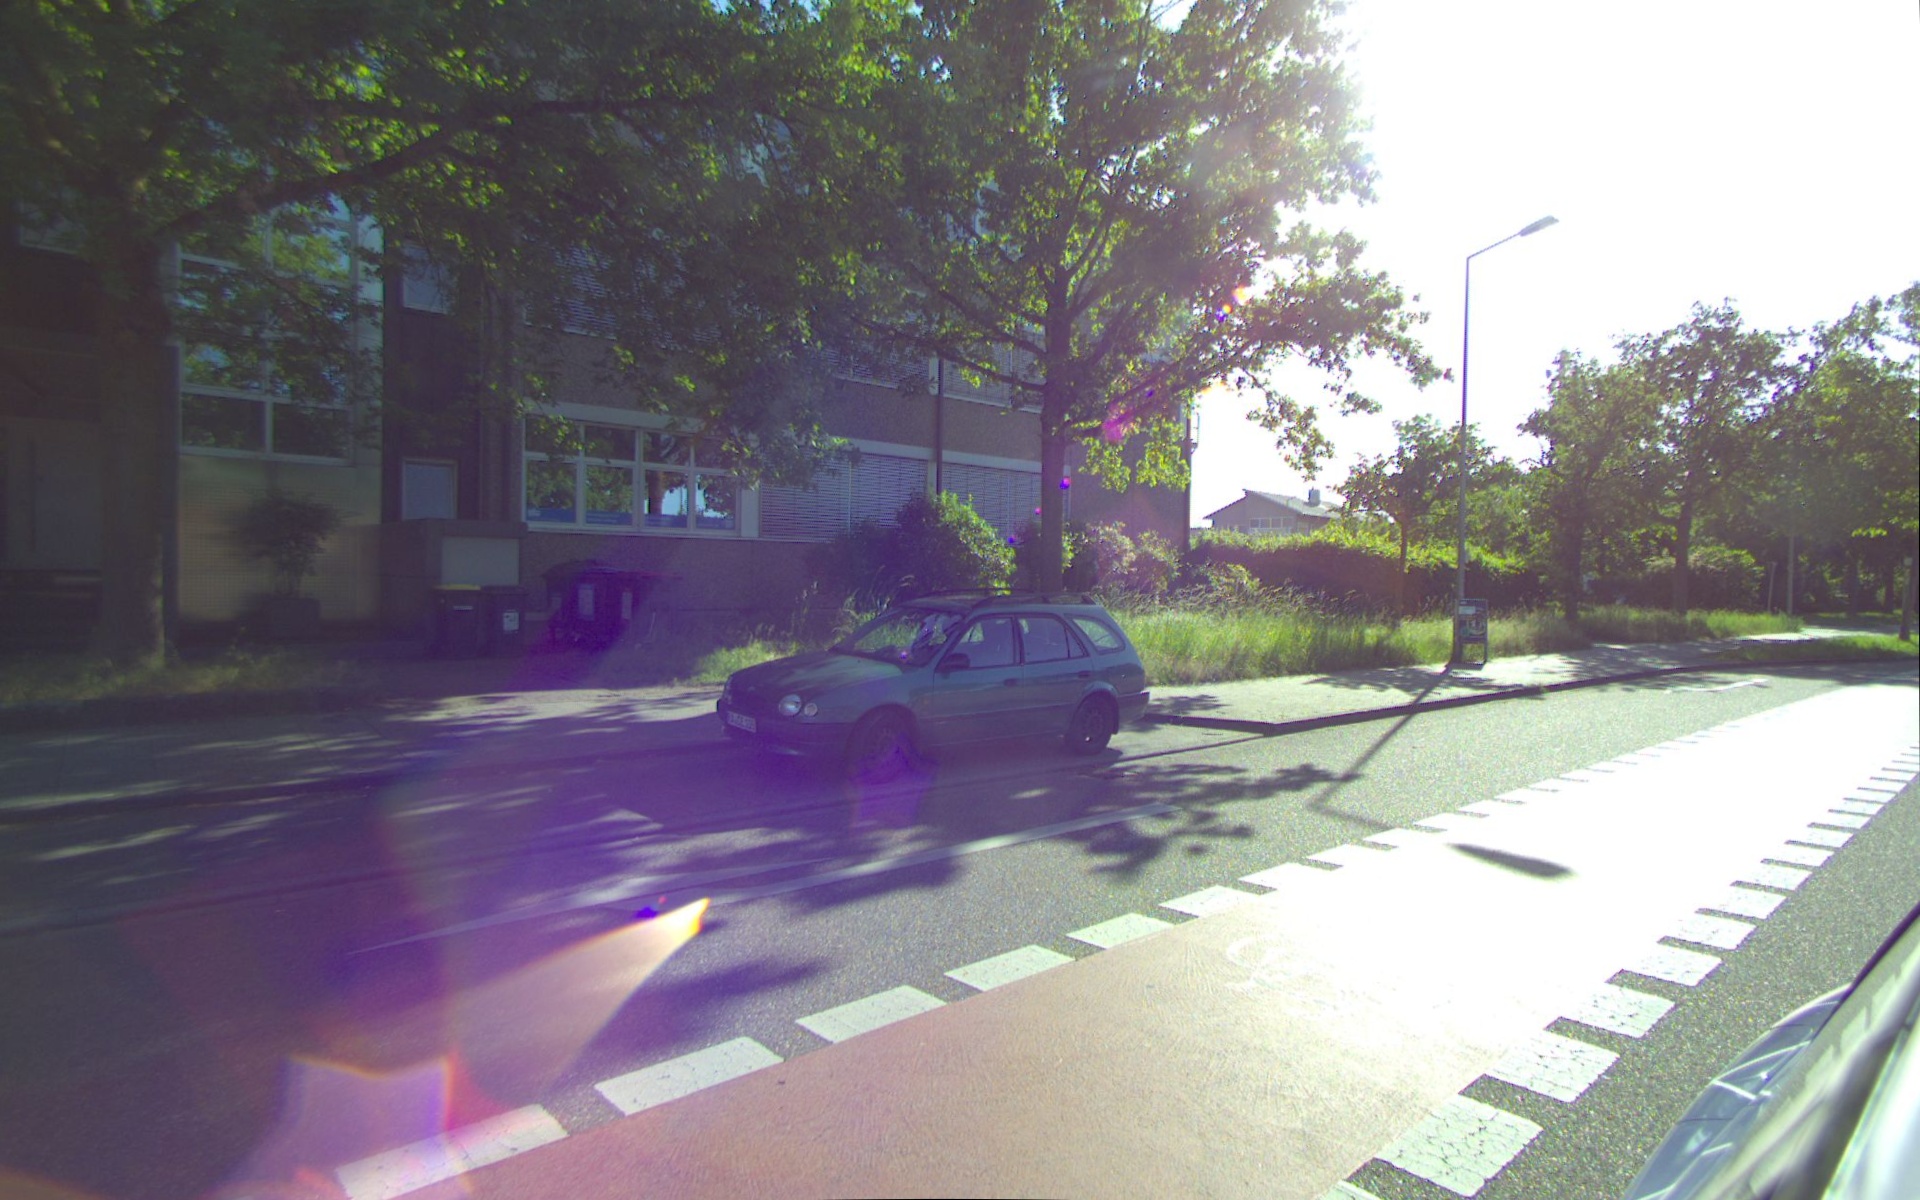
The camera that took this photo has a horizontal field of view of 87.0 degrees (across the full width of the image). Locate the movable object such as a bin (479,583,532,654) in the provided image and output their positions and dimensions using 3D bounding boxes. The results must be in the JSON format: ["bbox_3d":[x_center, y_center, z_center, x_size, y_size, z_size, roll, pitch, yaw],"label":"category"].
[{"bbox_3d":[-6.749,0.262,15.029,0.566,1.020,0.629,-1,1,-41],"label":"movable object such as a bin"}]

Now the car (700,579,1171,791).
[{"bbox_3d":[-0.058,0.568,9.102,4.129,1.446,1.596,-1,3,-40],"label":"car"}]

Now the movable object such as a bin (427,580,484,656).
[{"bbox_3d":[-7.235,0.241,14.506,0.571,1.045,0.713,0,1,-41],"label":"movable object such as a bin"}]
